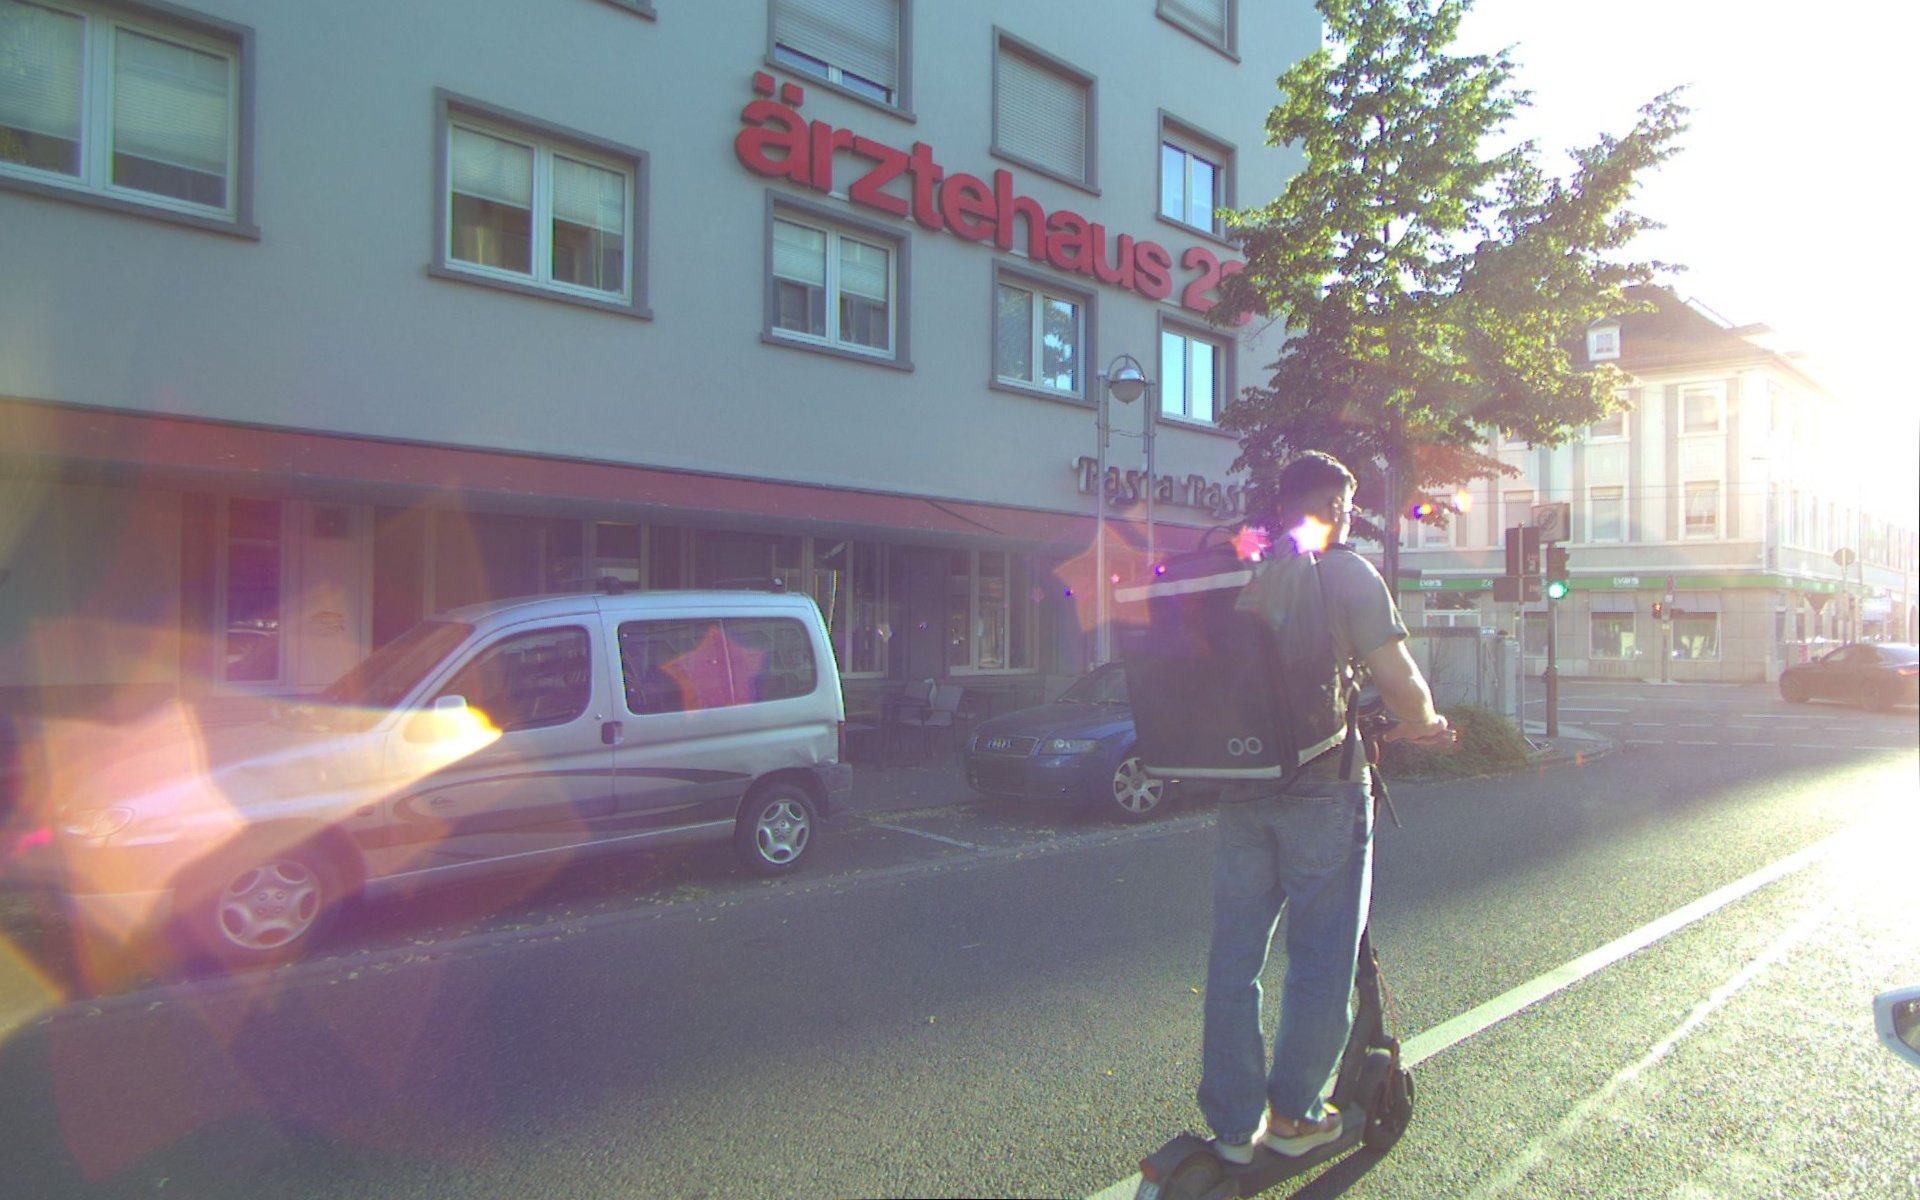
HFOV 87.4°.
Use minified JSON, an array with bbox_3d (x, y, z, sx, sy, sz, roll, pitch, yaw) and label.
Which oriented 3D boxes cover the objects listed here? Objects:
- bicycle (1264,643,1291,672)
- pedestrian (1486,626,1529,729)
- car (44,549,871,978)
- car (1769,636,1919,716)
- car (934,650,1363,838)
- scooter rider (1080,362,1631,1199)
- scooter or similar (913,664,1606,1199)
[{"bbox_3d":[12.443,2.240,39.343,0.490,1.073,1.736,0,-1,36],"label":"bicycle"},{"bbox_3d":[9.177,1.280,16.848,0.575,1.678,0.799,0,-1,25],"label":"pedestrian"},{"bbox_3d":[-2.644,0.698,5.914,3.970,1.686,1.699,3,-1,-42],"label":"car"},{"bbox_3d":[20.132,1.615,21.992,1.858,1.500,4.546,2,-1,12],"label":"car"},{"bbox_3d":[1.942,1.183,9.560,4.274,1.371,1.636,2,-2,-39],"label":"car"},{"bbox_3d":[0.857,0.521,2.255,0.780,1.831,0.806,2,0,-34],"label":"scooter rider"},{"bbox_3d":[0.741,0.850,2.201,1.652,1.368,0.541,1,-1,-34],"label":"scooter or similar"}]
